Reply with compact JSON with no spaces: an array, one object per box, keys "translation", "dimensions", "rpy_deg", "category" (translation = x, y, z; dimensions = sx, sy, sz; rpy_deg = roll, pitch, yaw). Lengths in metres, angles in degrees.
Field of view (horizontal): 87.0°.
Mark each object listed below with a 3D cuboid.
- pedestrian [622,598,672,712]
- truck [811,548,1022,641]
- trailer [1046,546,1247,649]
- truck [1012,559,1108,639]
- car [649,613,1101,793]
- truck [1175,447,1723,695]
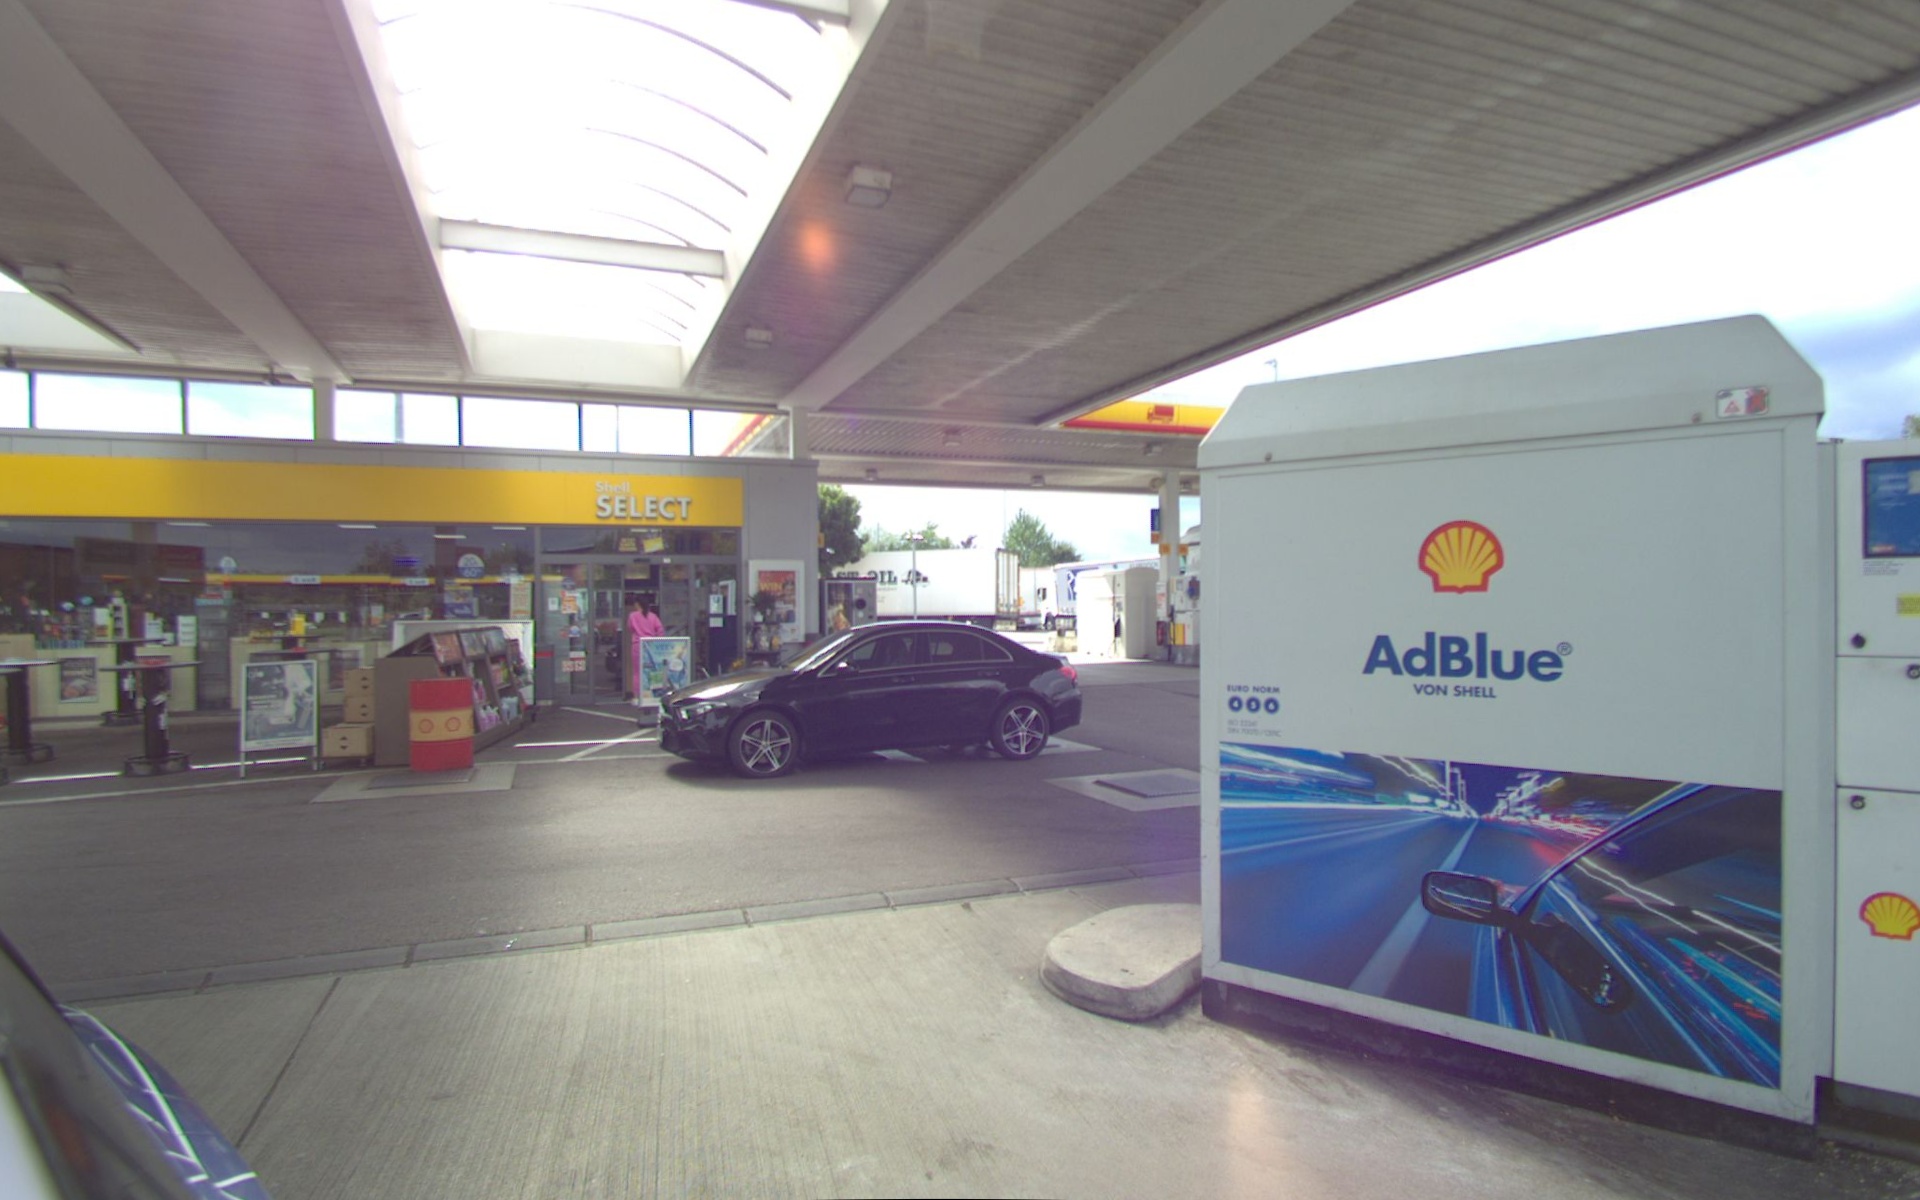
[{"translation":[-4.913,0.842,15.861],"dimensions":[0.616,1.726,0.624],"rpy_deg":[-1,0,-30],"category":"pedestrian"},{"translation":[-2.100,-0.186,46.847],"dimensions":[9.536,4.036,2.772],"rpy_deg":[-1,0,25],"category":"truck"},{"translation":[9.107,-0.105,52.682],"dimensions":[3.294,4.600,14.397],"rpy_deg":[-1,0,-20],"category":"trailer"},{"translation":[5.929,-0.055,61.230],"dimensions":[3.333,4.538,6.249],"rpy_deg":[-1,0,-20],"category":"truck"},{"translation":[-0.900,0.939,10.652],"dimensions":[4.394,1.511,1.785],"rpy_deg":[-1,0,-21],"category":"car"},{"translation":[9.660,-0.467,23.110],"dimensions":[2.491,4.069,12.947],"rpy_deg":[-1,0,-22],"category":"truck"}]
